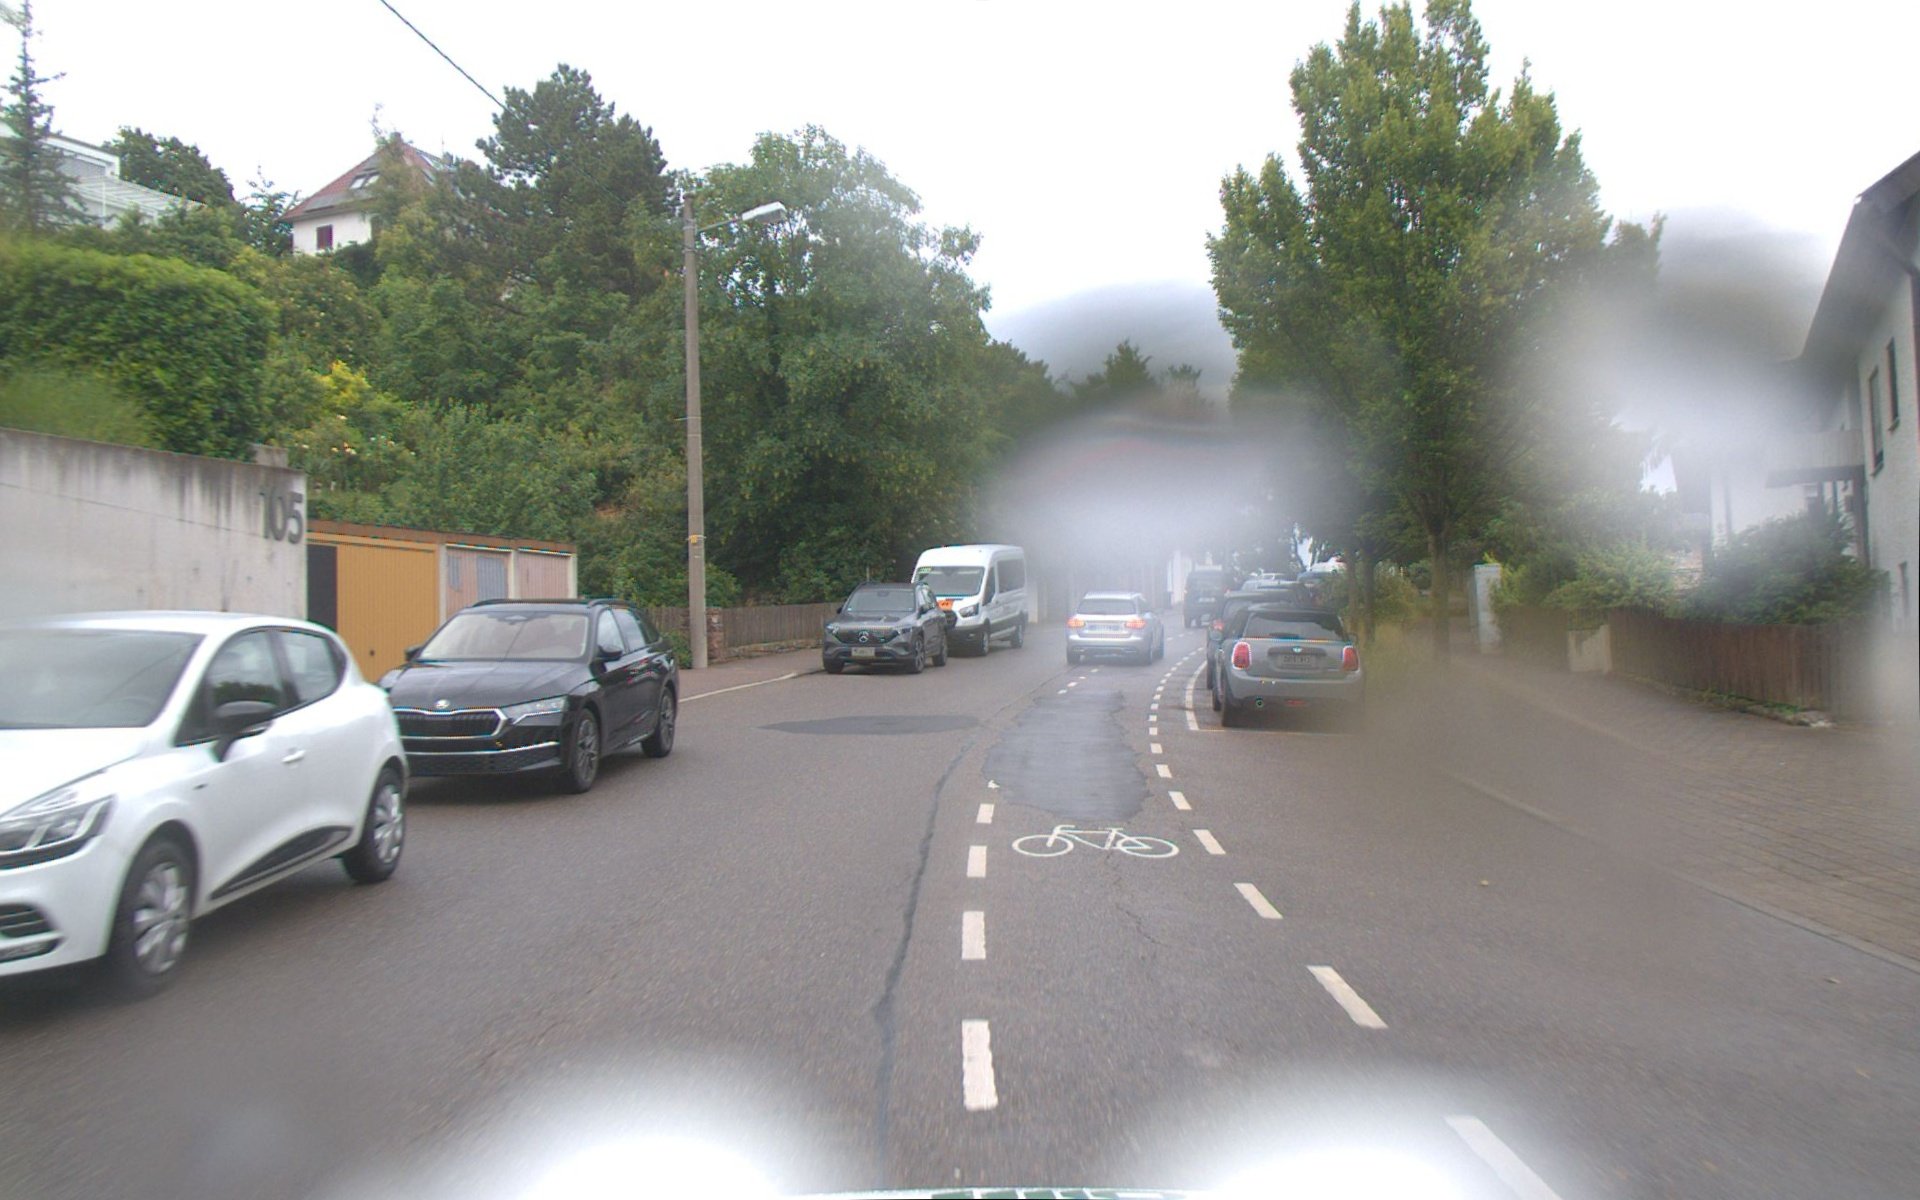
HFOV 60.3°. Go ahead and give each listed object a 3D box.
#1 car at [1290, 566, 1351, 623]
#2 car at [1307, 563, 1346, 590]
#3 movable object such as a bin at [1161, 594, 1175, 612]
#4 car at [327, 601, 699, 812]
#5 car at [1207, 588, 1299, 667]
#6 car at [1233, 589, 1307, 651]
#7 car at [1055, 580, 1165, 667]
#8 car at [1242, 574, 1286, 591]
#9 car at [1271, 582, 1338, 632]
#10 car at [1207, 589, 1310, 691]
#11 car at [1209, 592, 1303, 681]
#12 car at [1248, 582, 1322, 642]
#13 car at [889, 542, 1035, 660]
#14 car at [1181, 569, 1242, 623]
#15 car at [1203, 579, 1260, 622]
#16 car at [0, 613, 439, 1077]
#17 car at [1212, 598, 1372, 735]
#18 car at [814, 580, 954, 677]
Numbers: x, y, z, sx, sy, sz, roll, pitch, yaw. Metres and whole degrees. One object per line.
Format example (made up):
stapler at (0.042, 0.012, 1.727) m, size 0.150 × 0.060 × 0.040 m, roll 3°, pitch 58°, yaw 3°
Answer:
car at (12.550, -0.229, 57.450) m, size 1.740 × 1.884 × 4.428 m, roll 0°, pitch 1°, yaw 17°
car at (35.460, -2.301, 160.051) m, size 2.087 × 2.571 × 4.485 m, roll 0°, pitch 1°, yaw -11°
movable object such as a bin at (11.021, 0.174, 87.670) m, size 0.644 × 0.935 × 0.678 m, roll -1°, pitch 0°, yaw 16°
car at (-3.573, 0.763, 14.169) m, size 1.677 × 1.485 × 4.684 m, roll -1°, pitch 0°, yaw 3°
car at (6.506, 0.545, 36.434) m, size 1.738 × 1.580 × 4.732 m, roll 1°, pitch 1°, yaw 13°
car at (8.071, 0.474, 42.857) m, size 1.608 × 1.449 × 4.291 m, roll 1°, pitch 1°, yaw 14°
car at (3.244, 0.468, 35.066) m, size 1.982 × 1.738 × 4.219 m, roll 0°, pitch 0°, yaw 10°
car at (31.500, -1.843, 171.301) m, size 1.948 × 1.727 × 4.441 m, roll 0°, pitch 1°, yaw -35°
car at (10.968, 0.181, 52.488) m, size 1.614 × 1.507 × 4.022 m, roll 0°, pitch 1°, yaw 18°
car at (4.921, 0.619, 27.523) m, size 1.592 × 1.590 × 3.025 m, roll 0°, pitch 0°, yaw 8°
car at (5.573, 0.639, 31.307) m, size 1.619 × 1.546 × 4.004 m, roll 1°, pitch 1°, yaw 9°
car at (9.384, 0.297, 47.489) m, size 1.678 × 1.583 × 4.167 m, roll 1°, pitch 1°, yaw 16°
car at (0.174, -0.032, 39.739) m, size 2.049 × 2.594 × 6.102 m, roll -1°, pitch 1°, yaw 14°
car at (8.358, -0.120, 55.127) m, size 1.951 × 1.738 × 4.003 m, roll 0°, pitch 0°, yaw 8°
car at (11.395, 0.023, 69.238) m, size 1.951 × 1.738 × 4.003 m, roll 0°, pitch 0°, yaw 15°
car at (-3.886, 0.827, 7.389) m, size 1.794 × 1.465 × 4.040 m, roll -1°, pitch 0°, yaw 0°
car at (4.041, 0.747, 20.600) m, size 1.633 × 1.496 × 3.713 m, roll 1°, pitch 0°, yaw 7°
car at (-1.389, 0.496, 32.197) m, size 1.855 × 1.721 × 4.549 m, roll -1°, pitch 0°, yaw 8°
